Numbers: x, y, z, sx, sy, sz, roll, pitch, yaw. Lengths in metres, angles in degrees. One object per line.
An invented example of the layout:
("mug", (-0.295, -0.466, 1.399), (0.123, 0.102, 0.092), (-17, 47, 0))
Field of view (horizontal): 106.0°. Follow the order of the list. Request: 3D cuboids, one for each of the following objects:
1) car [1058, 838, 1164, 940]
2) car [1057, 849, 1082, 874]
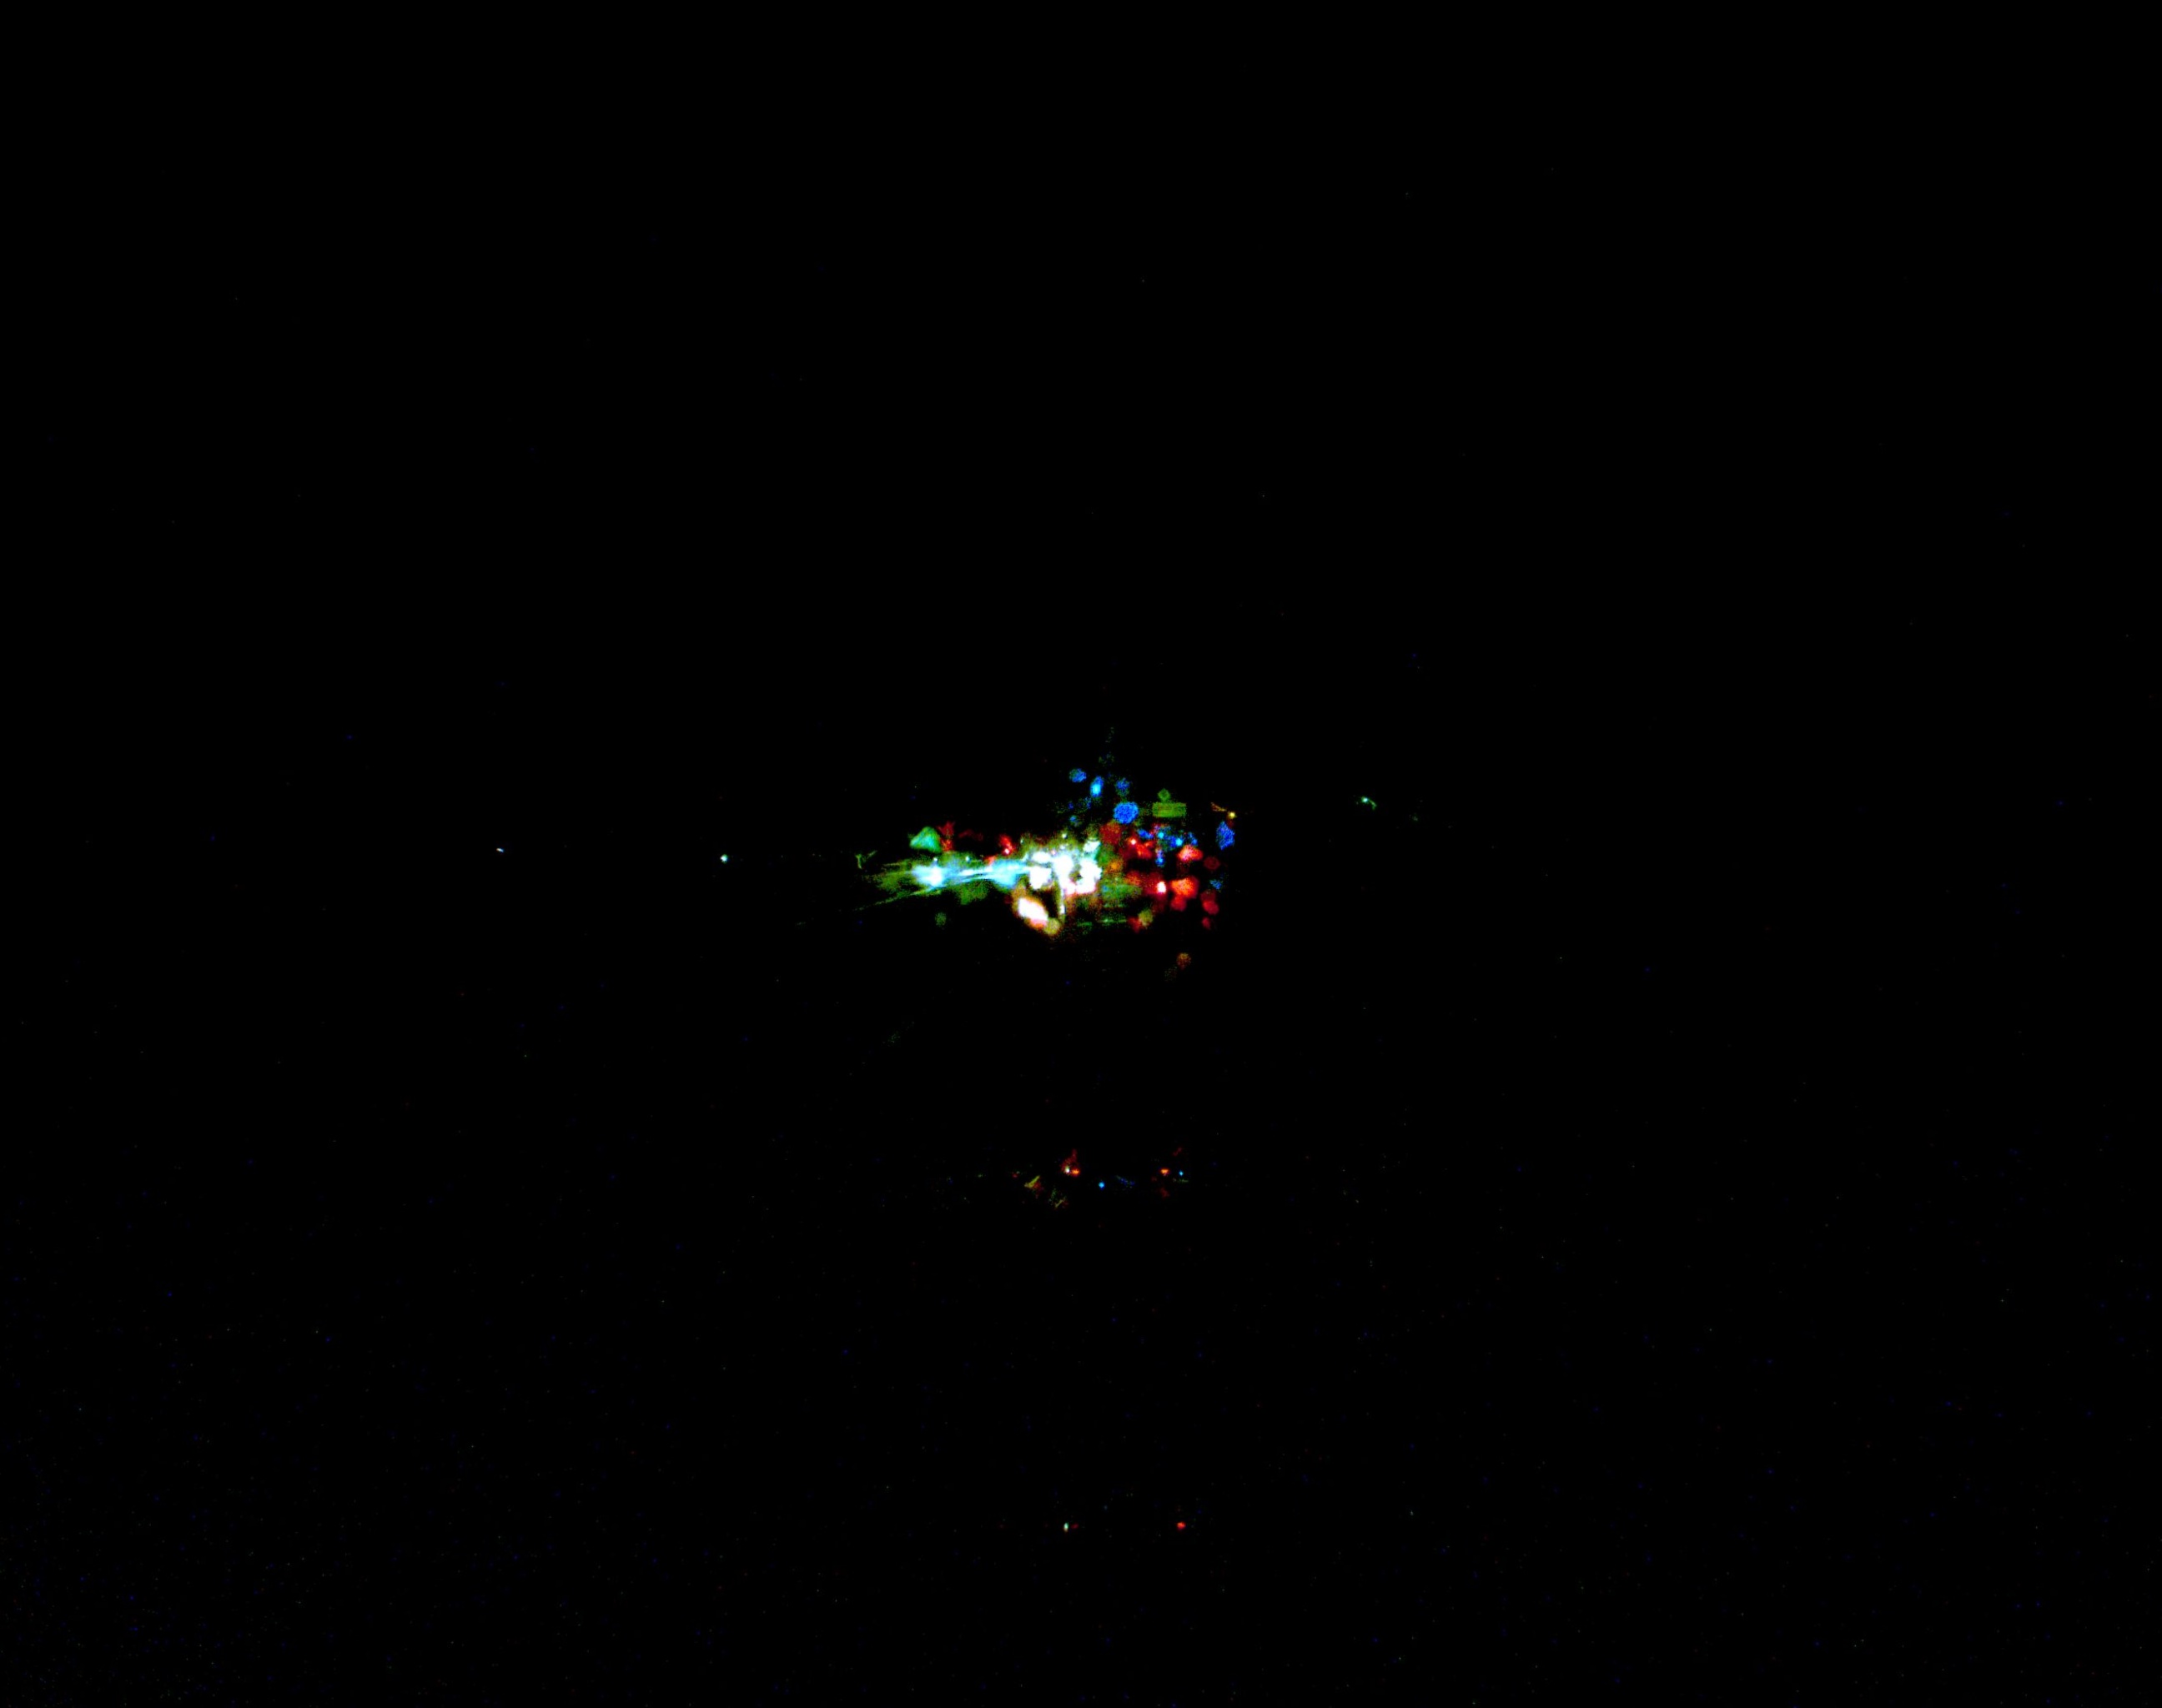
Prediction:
("car", (0.527, 0.595, 15.695), (1.769, 1.712, 4.000), (-1, 0, 0))
("car", (-1.054, 0.692, 70.106), (1.989, 2.014, 3.995), (-2, -2, -3))
